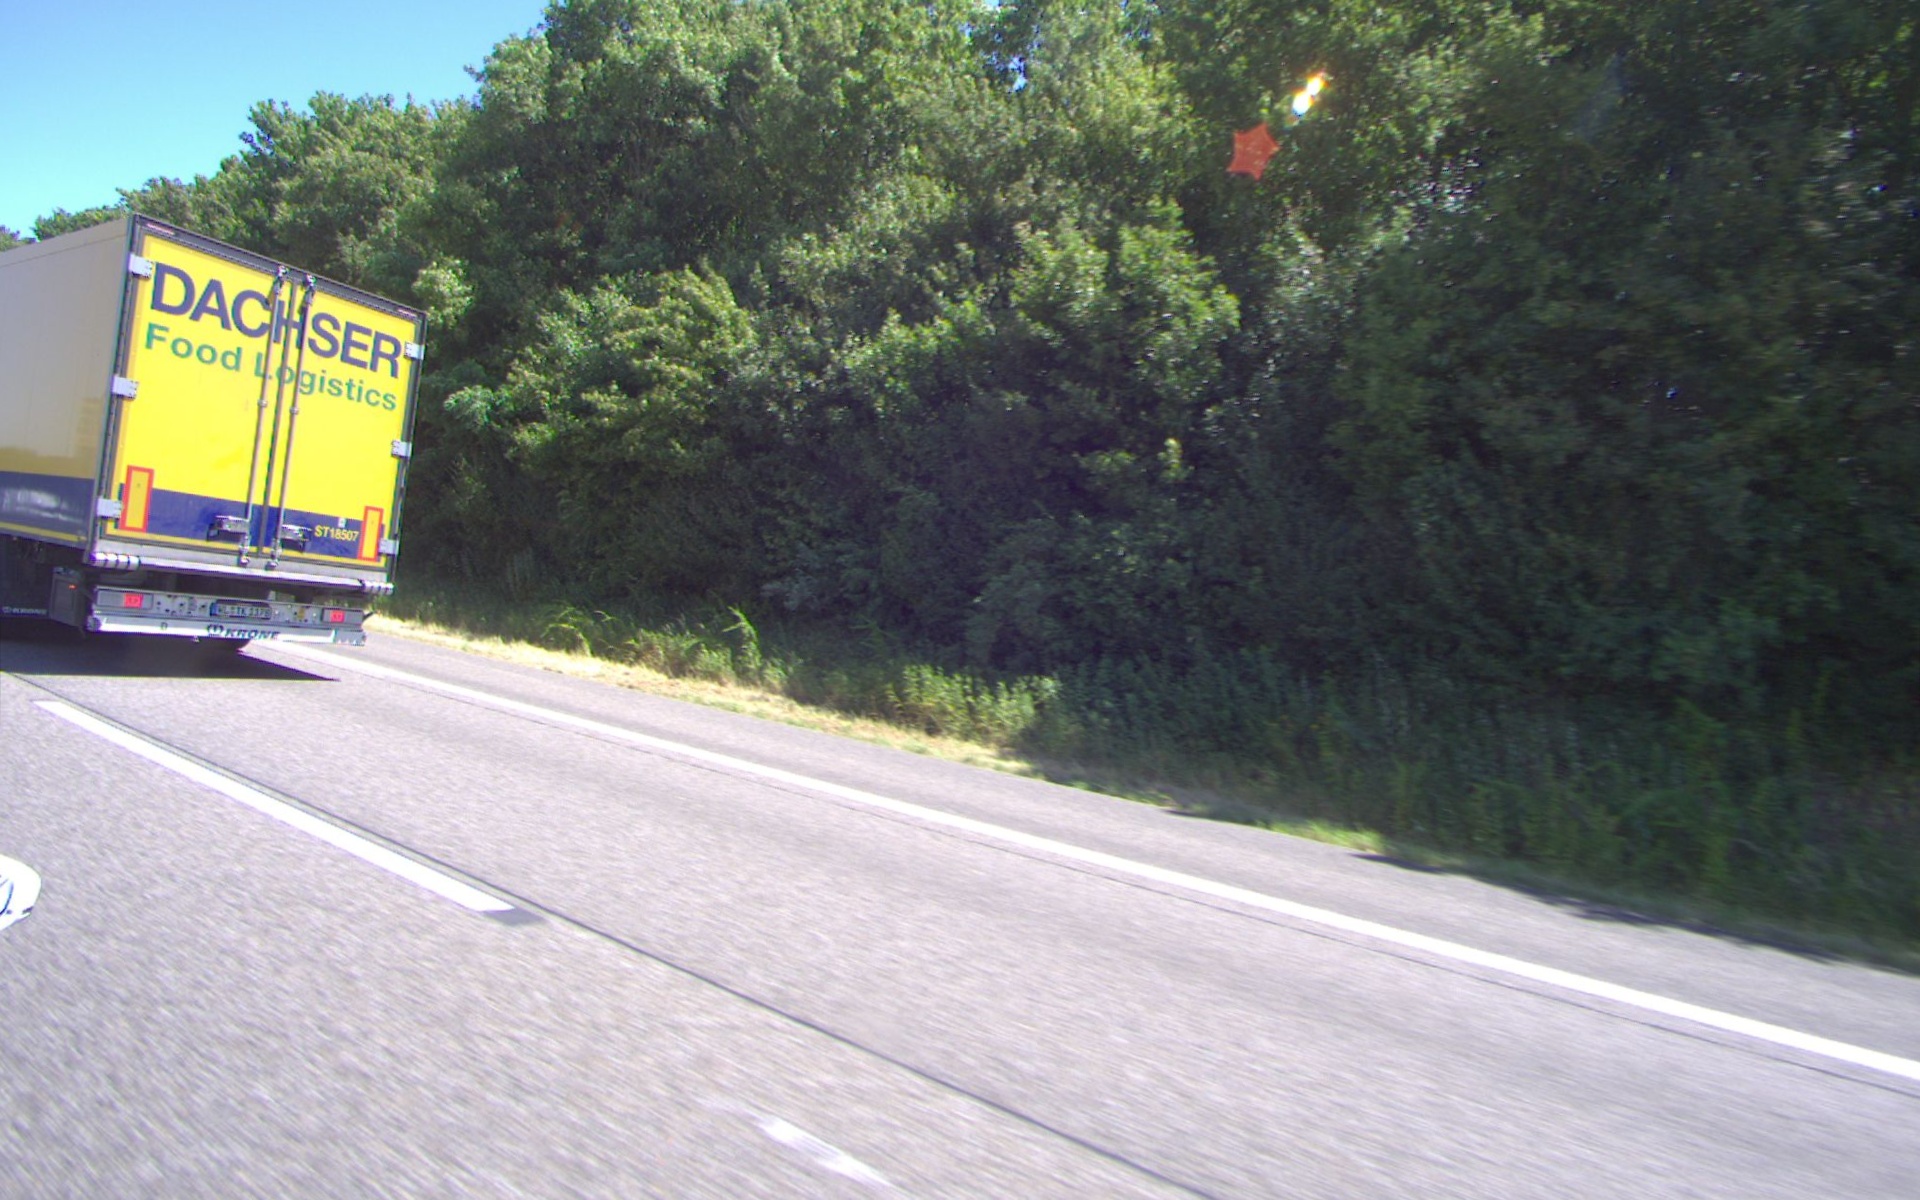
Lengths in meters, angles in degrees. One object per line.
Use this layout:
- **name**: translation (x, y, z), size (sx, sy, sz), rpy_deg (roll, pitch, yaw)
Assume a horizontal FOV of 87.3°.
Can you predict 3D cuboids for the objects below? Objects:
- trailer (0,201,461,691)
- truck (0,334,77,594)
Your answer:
- **trailer**: translation (-11.033, -1.713, 12.545), size (11.493, 4.002, 2.838), rpy_deg (7, 0, 33)
- **truck**: translation (-18.377, -2.540, 17.316), size (6.536, 4.056, 2.816), rpy_deg (7, 0, 33)
